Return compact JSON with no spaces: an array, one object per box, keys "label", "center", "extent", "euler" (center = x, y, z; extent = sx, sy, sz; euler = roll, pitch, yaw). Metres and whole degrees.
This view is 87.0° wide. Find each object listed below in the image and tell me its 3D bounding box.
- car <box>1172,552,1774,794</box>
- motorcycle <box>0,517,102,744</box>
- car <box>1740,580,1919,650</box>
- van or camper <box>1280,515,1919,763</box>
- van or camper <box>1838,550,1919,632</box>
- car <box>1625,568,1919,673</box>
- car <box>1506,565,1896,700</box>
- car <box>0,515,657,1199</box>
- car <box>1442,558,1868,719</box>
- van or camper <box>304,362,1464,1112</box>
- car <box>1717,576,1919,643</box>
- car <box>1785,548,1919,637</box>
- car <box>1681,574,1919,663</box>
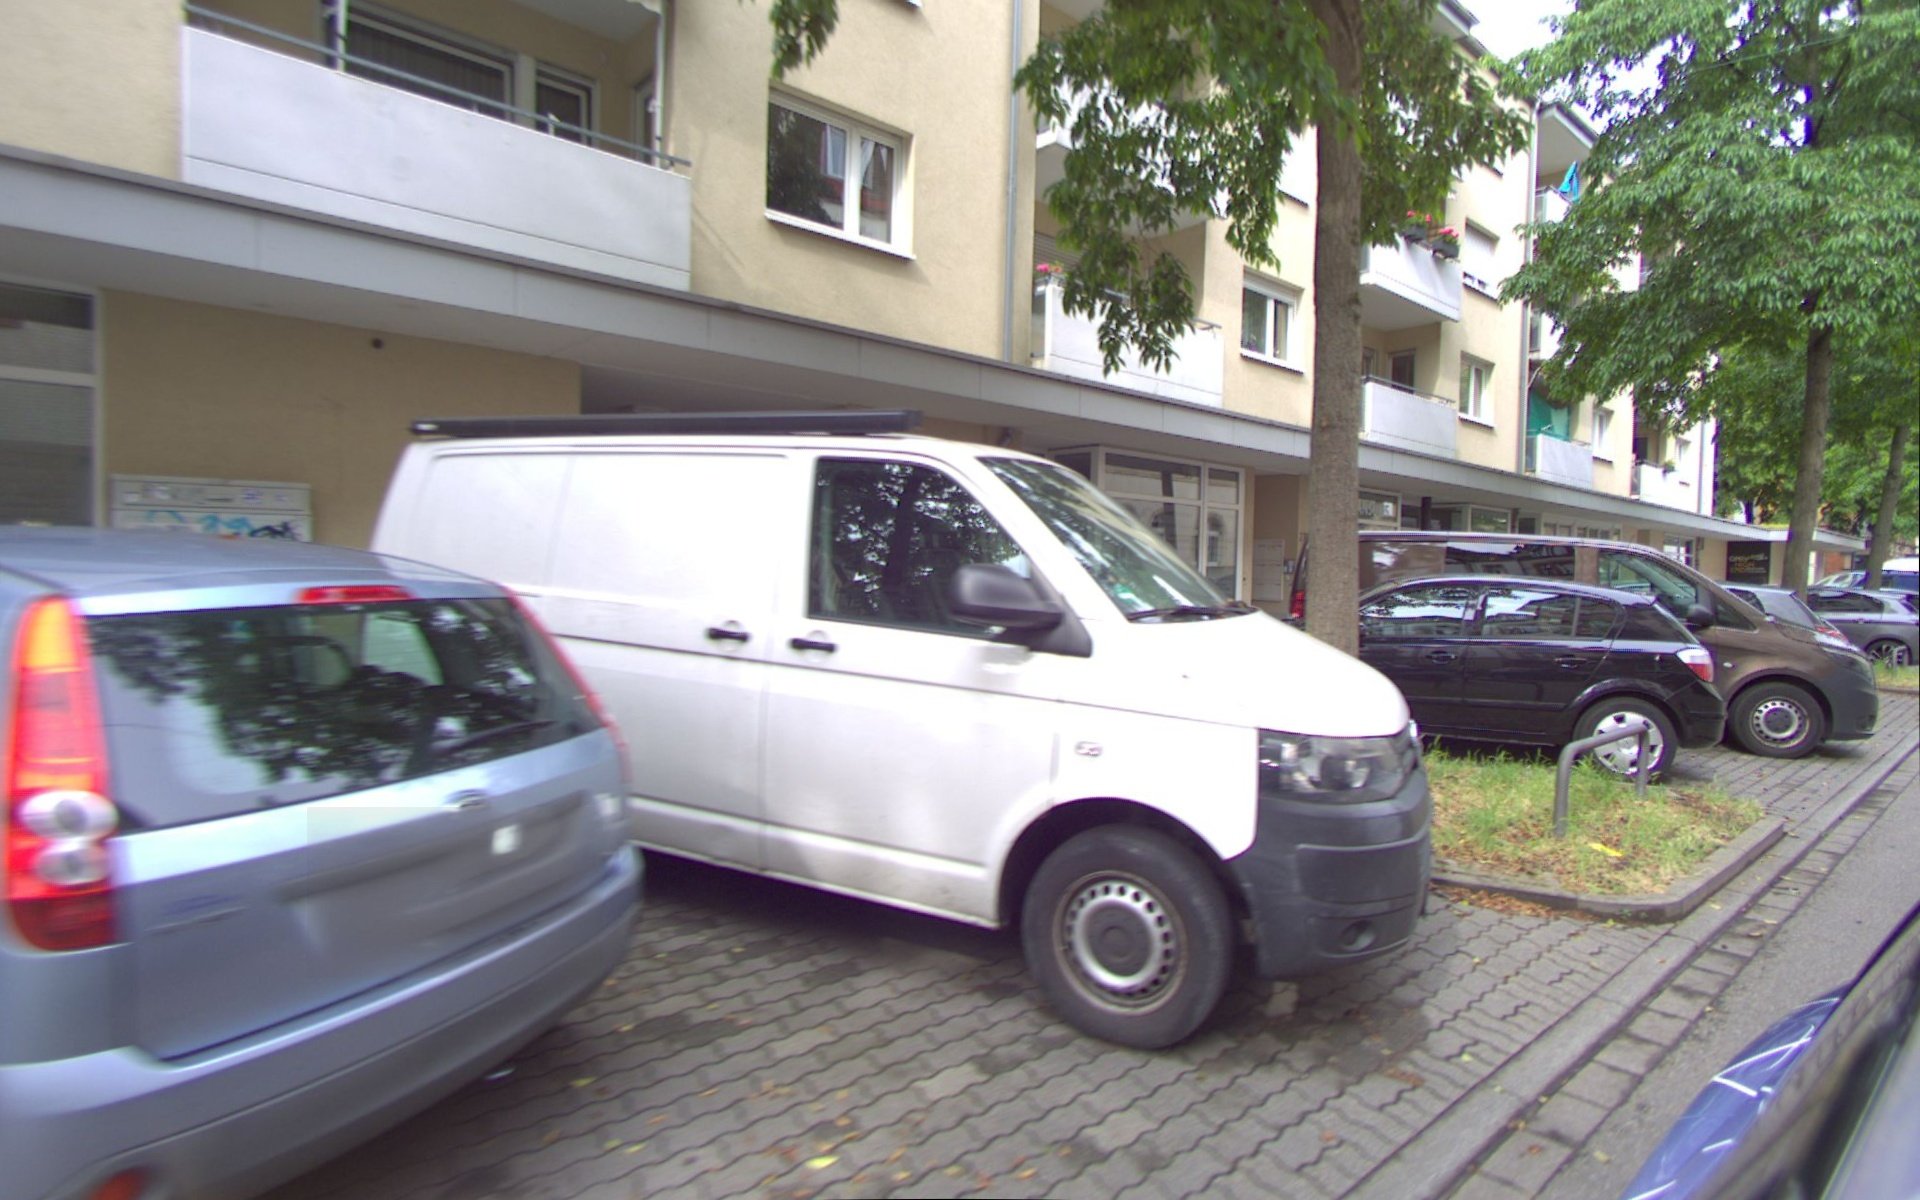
[{"label":"car","center":[3.887,0.431,8.396],"extent":[3.956,1.462,1.832],"euler":[4,3,18]},{"label":"motorcycle","center":[-6.324,0.169,5.741],"extent":[2.214,1.316,0.679],"euler":[0,5,-42]},{"label":"car","center":[21.040,0.333,23.588],"extent":[4.060,1.460,1.843],"euler":[2,2,18]},{"label":"van or camper","center":[5.948,0.195,10.175],"extent":[4.968,1.892,2.111],"euler":[4,3,24]},{"label":"van or camper","center":[31.922,-0.289,32.990],"extent":[4.534,2.628,1.901],"euler":[1,1,17]},{"label":"car","center":[14.635,0.306,18.057],"extent":[4.174,1.518,1.964],"euler":[4,4,20]},{"label":"car","center":[9.997,0.340,14.129],"extent":[4.012,1.501,1.931],"euler":[3,3,26]},{"label":"car","center":[-2.765,0.505,2.743],"extent":[3.380,1.459,1.662],"euler":[3,3,18]},{"label":"car","center":[7.903,0.331,12.041],"extent":[3.822,1.520,1.897],"euler":[3,3,25]},{"label":"van or camper","center":[-0.458,0.194,4.571],"extent":[4.695,2.017,1.985],"euler":[3,5,24]},{"label":"car","center":[22.132,0.200,26.028],"extent":[3.874,1.483,1.810],"euler":[3,2,25]},{"label":"car","center":[25.610,-0.158,27.283],"extent":[4.633,2.223,2.061],"euler":[4,2,11]},{"label":"car","center":[16.429,0.302,19.902],"extent":[3.337,1.515,1.836],"euler":[3,3,26]}]
